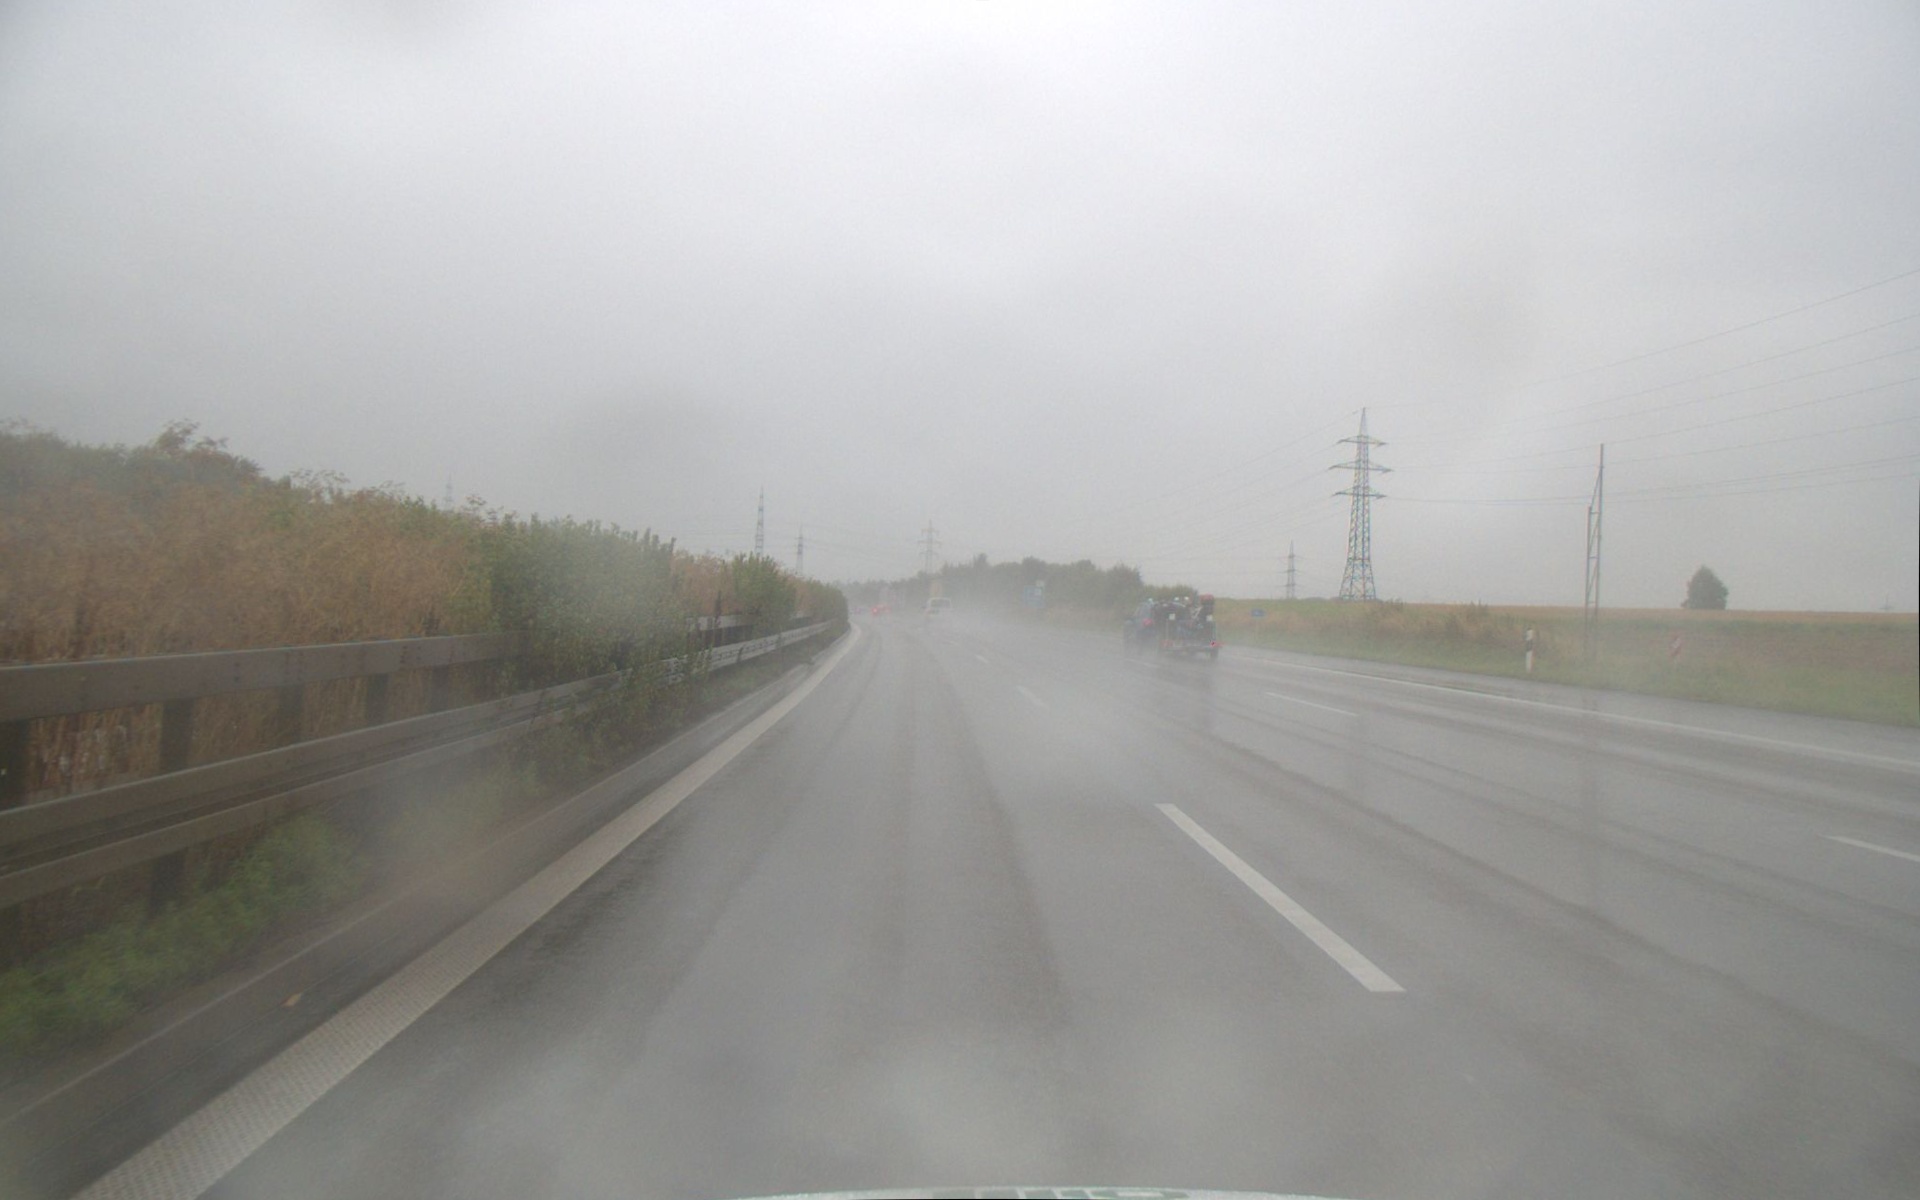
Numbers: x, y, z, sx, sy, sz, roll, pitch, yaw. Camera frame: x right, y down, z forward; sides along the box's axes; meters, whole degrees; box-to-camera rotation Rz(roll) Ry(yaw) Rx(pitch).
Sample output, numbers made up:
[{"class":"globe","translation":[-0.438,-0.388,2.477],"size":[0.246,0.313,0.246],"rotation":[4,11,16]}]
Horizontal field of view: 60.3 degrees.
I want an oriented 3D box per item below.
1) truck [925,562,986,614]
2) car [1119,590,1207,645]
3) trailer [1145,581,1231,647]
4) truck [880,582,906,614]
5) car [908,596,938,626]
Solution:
[{"class":"truck","translation":[-0.588,-1.048,161.978],"size":[4.109,4.711,16.079],"rotation":[1,-1,-7]},{"class":"car","translation":[6.301,0.565,51.898],"size":[1.953,1.647,4.990],"rotation":[1,-1,-2]},{"class":"trailer","translation":[6.548,0.420,47.819],"size":[1.939,1.816,3.187],"rotation":[1,-1,-2]},{"class":"truck","translation":[-9.549,-0.256,235.487],"size":[3.170,4.387,8.825],"rotation":[1,0,-6]},{"class":"car","translation":[-2.615,0.788,116.252],"size":[1.954,2.049,3.997],"rotation":[1,0,-4]}]
